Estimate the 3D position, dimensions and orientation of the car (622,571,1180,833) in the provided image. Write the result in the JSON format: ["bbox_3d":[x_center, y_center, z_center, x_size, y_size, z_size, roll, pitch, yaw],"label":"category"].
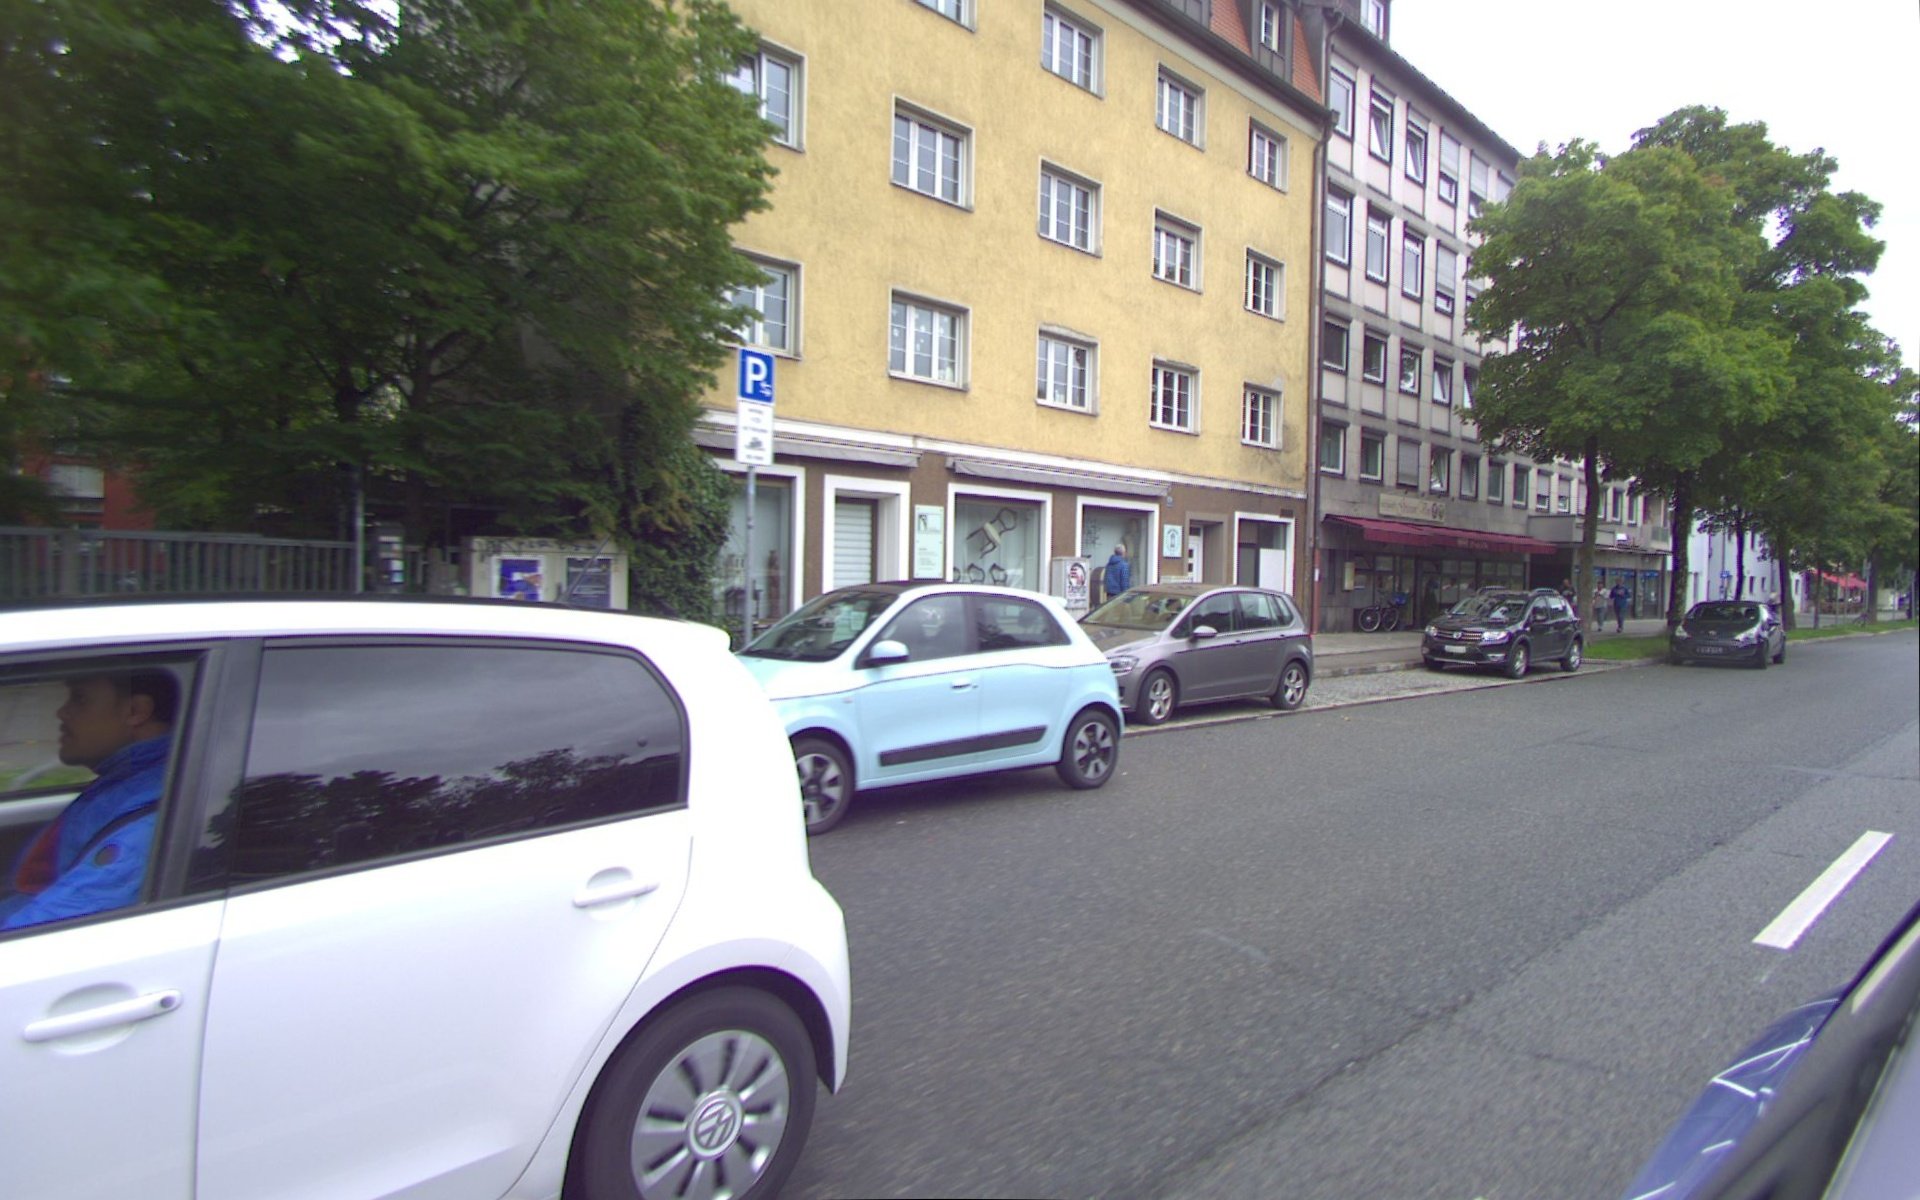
[{"bbox_3d":[-0.285,0.569,7.561,3.927,1.470,1.658,0,0,-38],"label":"car"}]

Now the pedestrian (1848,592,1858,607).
[{"bbox_3d":[74.679,-0.048,84.645,0.478,1.229,0.539,0,1,-40],"label":"pedestrian"}]

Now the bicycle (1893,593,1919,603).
[{"bbox_3d":[104.102,-0.246,111.349,0.653,1.081,2.028,0,1,-44],"label":"bicycle"}]

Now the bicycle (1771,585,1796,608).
[{"bbox_3d":[53.754,-0.249,66.023,2.547,1.424,0.704,0,5,-41],"label":"bicycle"}]

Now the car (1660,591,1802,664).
[{"bbox_3d":[17.497,0.554,22.921,3.934,1.470,1.995,0,1,-44],"label":"car"}]

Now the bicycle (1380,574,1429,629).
[{"bbox_3d":[12.458,0.028,28.348,1.659,1.482,0.581,0,1,-41],"label":"bicycle"}]

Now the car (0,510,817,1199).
[{"bbox_3d":[-2.154,0.620,1.933,3.376,1.509,1.689,0,0,-42],"label":"car"}]

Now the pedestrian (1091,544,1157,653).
[{"bbox_3d":[2.925,-0.037,18.088,0.763,1.878,0.793,0,3,-43],"label":"pedestrian"}]

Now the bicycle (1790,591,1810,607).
[{"bbox_3d":[57.126,-0.086,68.793,2.157,1.059,0.623,0,5,-41],"label":"bicycle"}]

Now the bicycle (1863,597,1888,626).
[{"bbox_3d":[42.785,0.520,47.301,0.452,1.271,2.126,1,1,31],"label":"bicycle"}]

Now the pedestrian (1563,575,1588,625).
[{"bbox_3d":[21.000,-0.005,34.544,0.541,1.661,0.713,3,2,42],"label":"pedestrian"}]

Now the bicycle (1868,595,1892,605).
[{"bbox_3d":[104.735,-0.036,115.237,0.653,1.081,2.028,0,1,-44],"label":"bicycle"}]

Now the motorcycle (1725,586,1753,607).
[{"bbox_3d":[42.636,-0.205,55.389,2.160,1.099,0.763,0,2,-40],"label":"motorcycle"}]

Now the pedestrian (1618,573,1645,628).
[{"bbox_3d":[22.038,0.013,33.207,0.720,1.754,0.501,0,2,-40],"label":"pedestrian"}]

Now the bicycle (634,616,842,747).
[{"bbox_3d":[-1.882,0.662,8.778,1.767,0.992,0.448,0,1,-41],"label":"bicycle"}]

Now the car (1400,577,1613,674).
[{"bbox_3d":[10.657,0.435,19.650,4.251,1.663,2.000,0,1,-36],"label":"car"}]

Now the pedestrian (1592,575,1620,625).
[{"bbox_3d":[21.768,-0.010,34.111,0.630,1.649,0.550,0,2,-40],"label":"pedestrian"}]

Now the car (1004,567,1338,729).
[{"bbox_3d":[2.743,0.481,12.648,4.230,1.646,1.820,0,3,-40],"label":"car"}]

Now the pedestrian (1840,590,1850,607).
[{"bbox_3d":[72.915,-0.137,83.378,0.543,1.356,0.539,0,1,-41],"label":"pedestrian"}]
